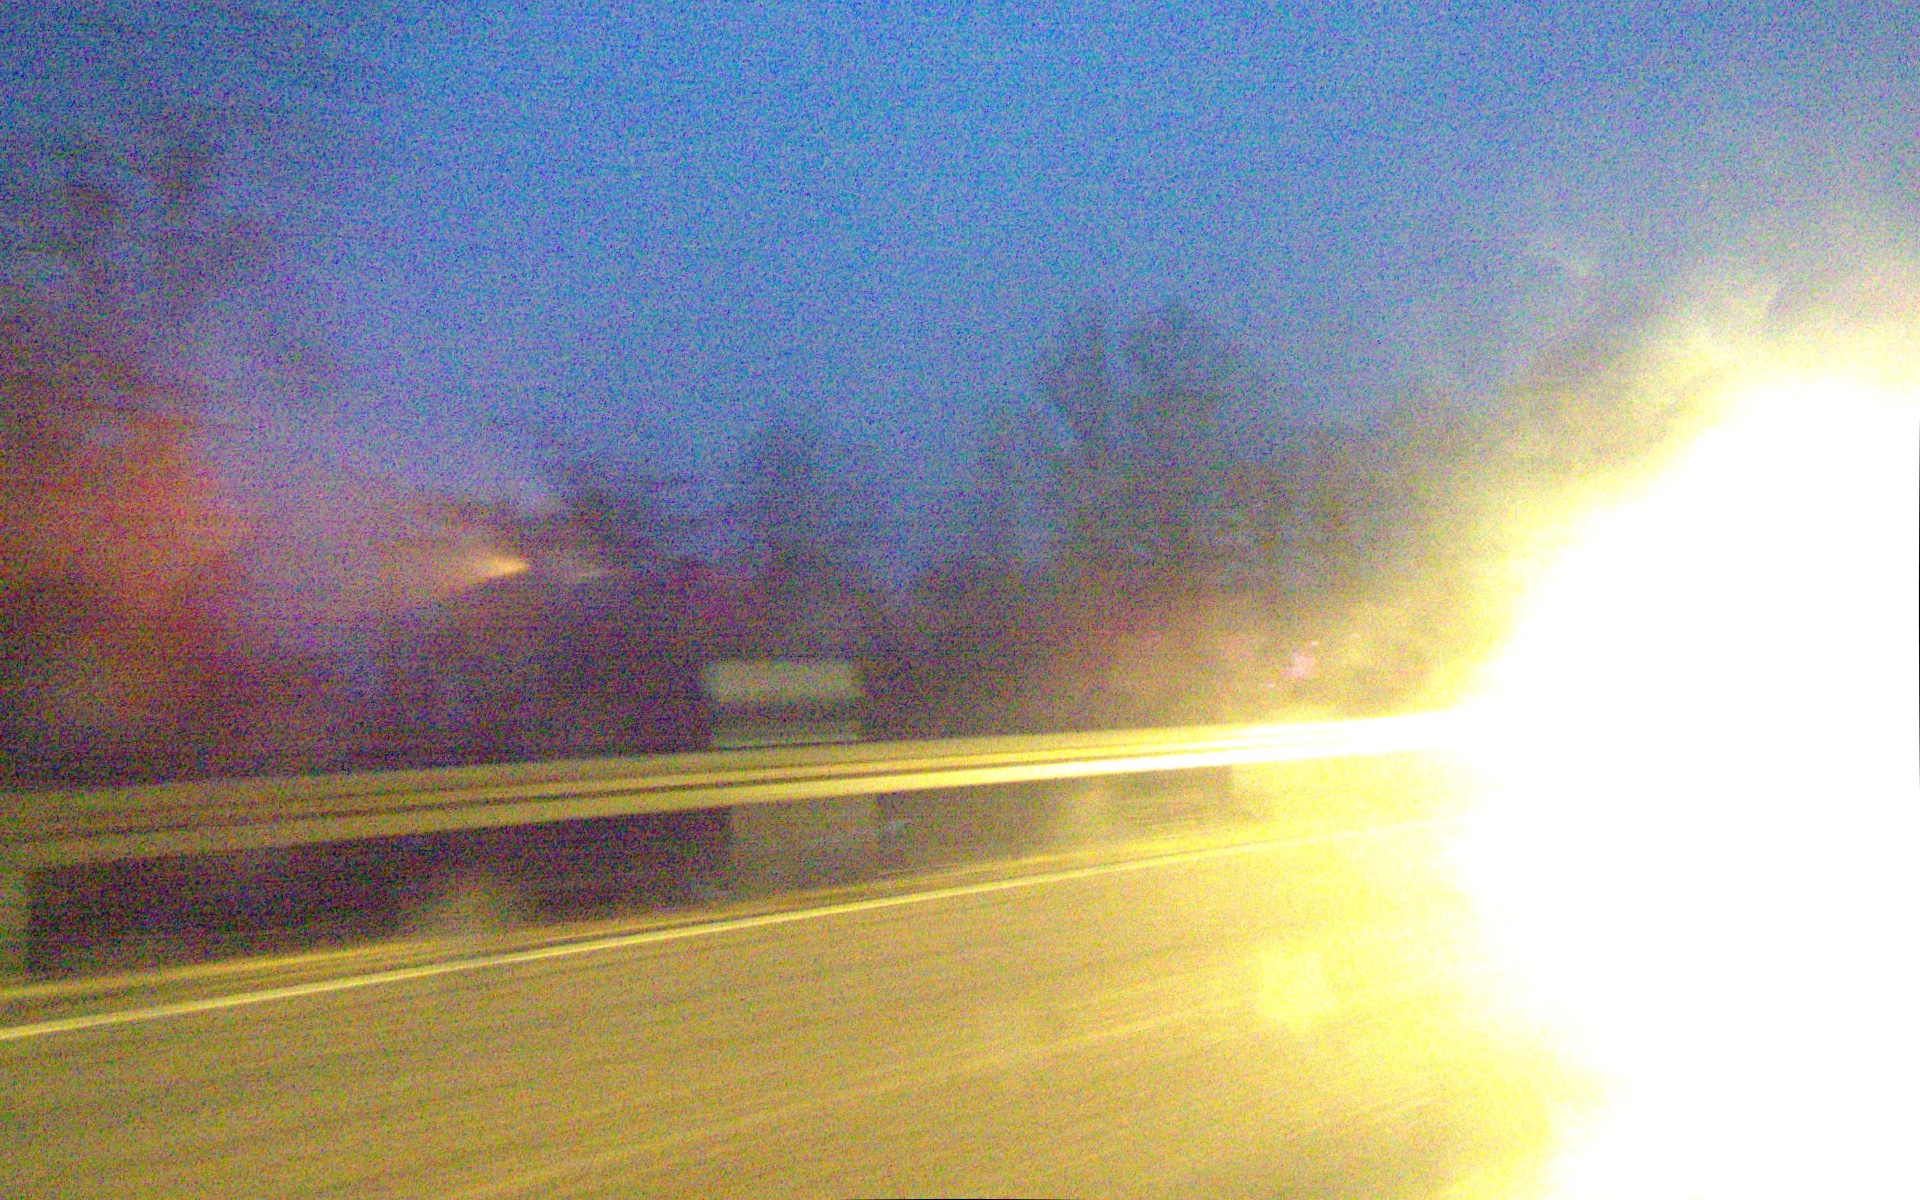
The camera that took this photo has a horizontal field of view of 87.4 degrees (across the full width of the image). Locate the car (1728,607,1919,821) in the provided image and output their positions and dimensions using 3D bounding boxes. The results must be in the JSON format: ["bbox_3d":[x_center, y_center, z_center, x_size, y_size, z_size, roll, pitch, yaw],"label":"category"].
[{"bbox_3d":[8.990,0.884,9.019,4.404,1.601,1.791,0,0,-30],"label":"car"}]
